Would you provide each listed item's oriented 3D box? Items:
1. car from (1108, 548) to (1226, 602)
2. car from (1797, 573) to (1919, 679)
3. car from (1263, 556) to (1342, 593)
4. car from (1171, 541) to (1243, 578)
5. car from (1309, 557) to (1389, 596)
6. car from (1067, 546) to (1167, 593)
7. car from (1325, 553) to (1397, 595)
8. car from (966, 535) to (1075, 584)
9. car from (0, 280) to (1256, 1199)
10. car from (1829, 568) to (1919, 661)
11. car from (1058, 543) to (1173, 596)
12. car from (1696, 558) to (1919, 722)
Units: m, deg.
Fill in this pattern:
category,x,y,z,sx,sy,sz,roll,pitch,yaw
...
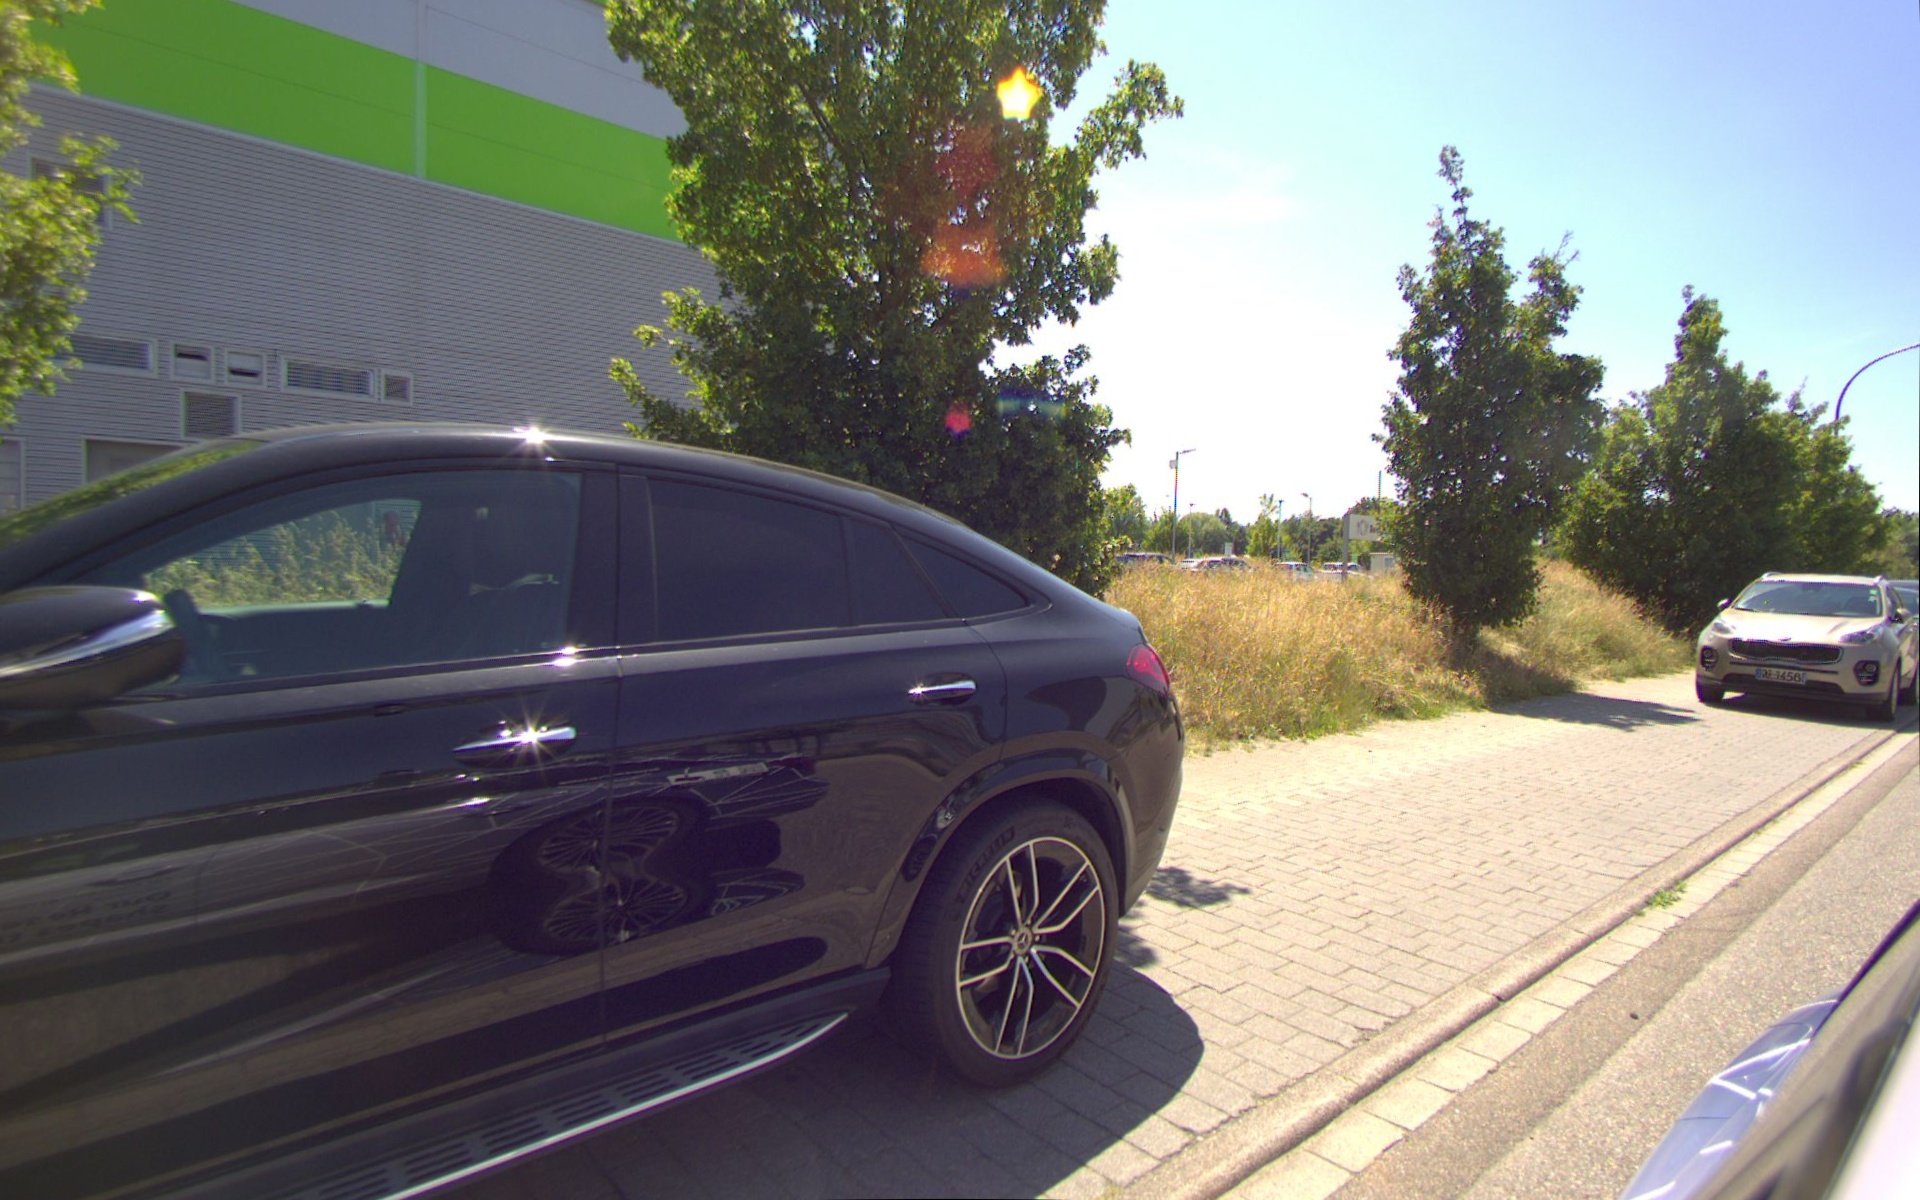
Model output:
category,x,y,z,sx,sy,sz,roll,pitch,yaw
car,7.684,-0.904,37.391,4.324,1.808,1.998,2,2,-41
car,15.941,0.371,17.387,4.555,1.547,1.906,-1,4,-45
car,17.637,-1.329,52.075,4.325,1.808,1.936,-1,4,-41
car,15.944,-2.616,65.284,4.664,2.270,2.000,-1,3,-37
car,19.257,-1.189,49.993,4.327,1.808,1.950,-2,4,-43
car,6.973,-1.328,44.625,4.324,1.873,1.998,2,2,-41
car,21.883,-1.461,55.184,4.327,2.171,1.950,-2,4,-43
car,2.552,-1.679,42.153,4.324,1.808,1.998,2,2,-41
car,-1.394,0.362,2.588,4.465,1.721,1.954,0,4,-41
car,20.003,0.280,21.093,4.702,1.719,2.149,0,4,-41
car,6.015,-1.161,38.804,4.324,1.808,1.998,2,2,-41
car,10.982,0.377,12.728,4.381,1.655,1.808,0,4,-41
